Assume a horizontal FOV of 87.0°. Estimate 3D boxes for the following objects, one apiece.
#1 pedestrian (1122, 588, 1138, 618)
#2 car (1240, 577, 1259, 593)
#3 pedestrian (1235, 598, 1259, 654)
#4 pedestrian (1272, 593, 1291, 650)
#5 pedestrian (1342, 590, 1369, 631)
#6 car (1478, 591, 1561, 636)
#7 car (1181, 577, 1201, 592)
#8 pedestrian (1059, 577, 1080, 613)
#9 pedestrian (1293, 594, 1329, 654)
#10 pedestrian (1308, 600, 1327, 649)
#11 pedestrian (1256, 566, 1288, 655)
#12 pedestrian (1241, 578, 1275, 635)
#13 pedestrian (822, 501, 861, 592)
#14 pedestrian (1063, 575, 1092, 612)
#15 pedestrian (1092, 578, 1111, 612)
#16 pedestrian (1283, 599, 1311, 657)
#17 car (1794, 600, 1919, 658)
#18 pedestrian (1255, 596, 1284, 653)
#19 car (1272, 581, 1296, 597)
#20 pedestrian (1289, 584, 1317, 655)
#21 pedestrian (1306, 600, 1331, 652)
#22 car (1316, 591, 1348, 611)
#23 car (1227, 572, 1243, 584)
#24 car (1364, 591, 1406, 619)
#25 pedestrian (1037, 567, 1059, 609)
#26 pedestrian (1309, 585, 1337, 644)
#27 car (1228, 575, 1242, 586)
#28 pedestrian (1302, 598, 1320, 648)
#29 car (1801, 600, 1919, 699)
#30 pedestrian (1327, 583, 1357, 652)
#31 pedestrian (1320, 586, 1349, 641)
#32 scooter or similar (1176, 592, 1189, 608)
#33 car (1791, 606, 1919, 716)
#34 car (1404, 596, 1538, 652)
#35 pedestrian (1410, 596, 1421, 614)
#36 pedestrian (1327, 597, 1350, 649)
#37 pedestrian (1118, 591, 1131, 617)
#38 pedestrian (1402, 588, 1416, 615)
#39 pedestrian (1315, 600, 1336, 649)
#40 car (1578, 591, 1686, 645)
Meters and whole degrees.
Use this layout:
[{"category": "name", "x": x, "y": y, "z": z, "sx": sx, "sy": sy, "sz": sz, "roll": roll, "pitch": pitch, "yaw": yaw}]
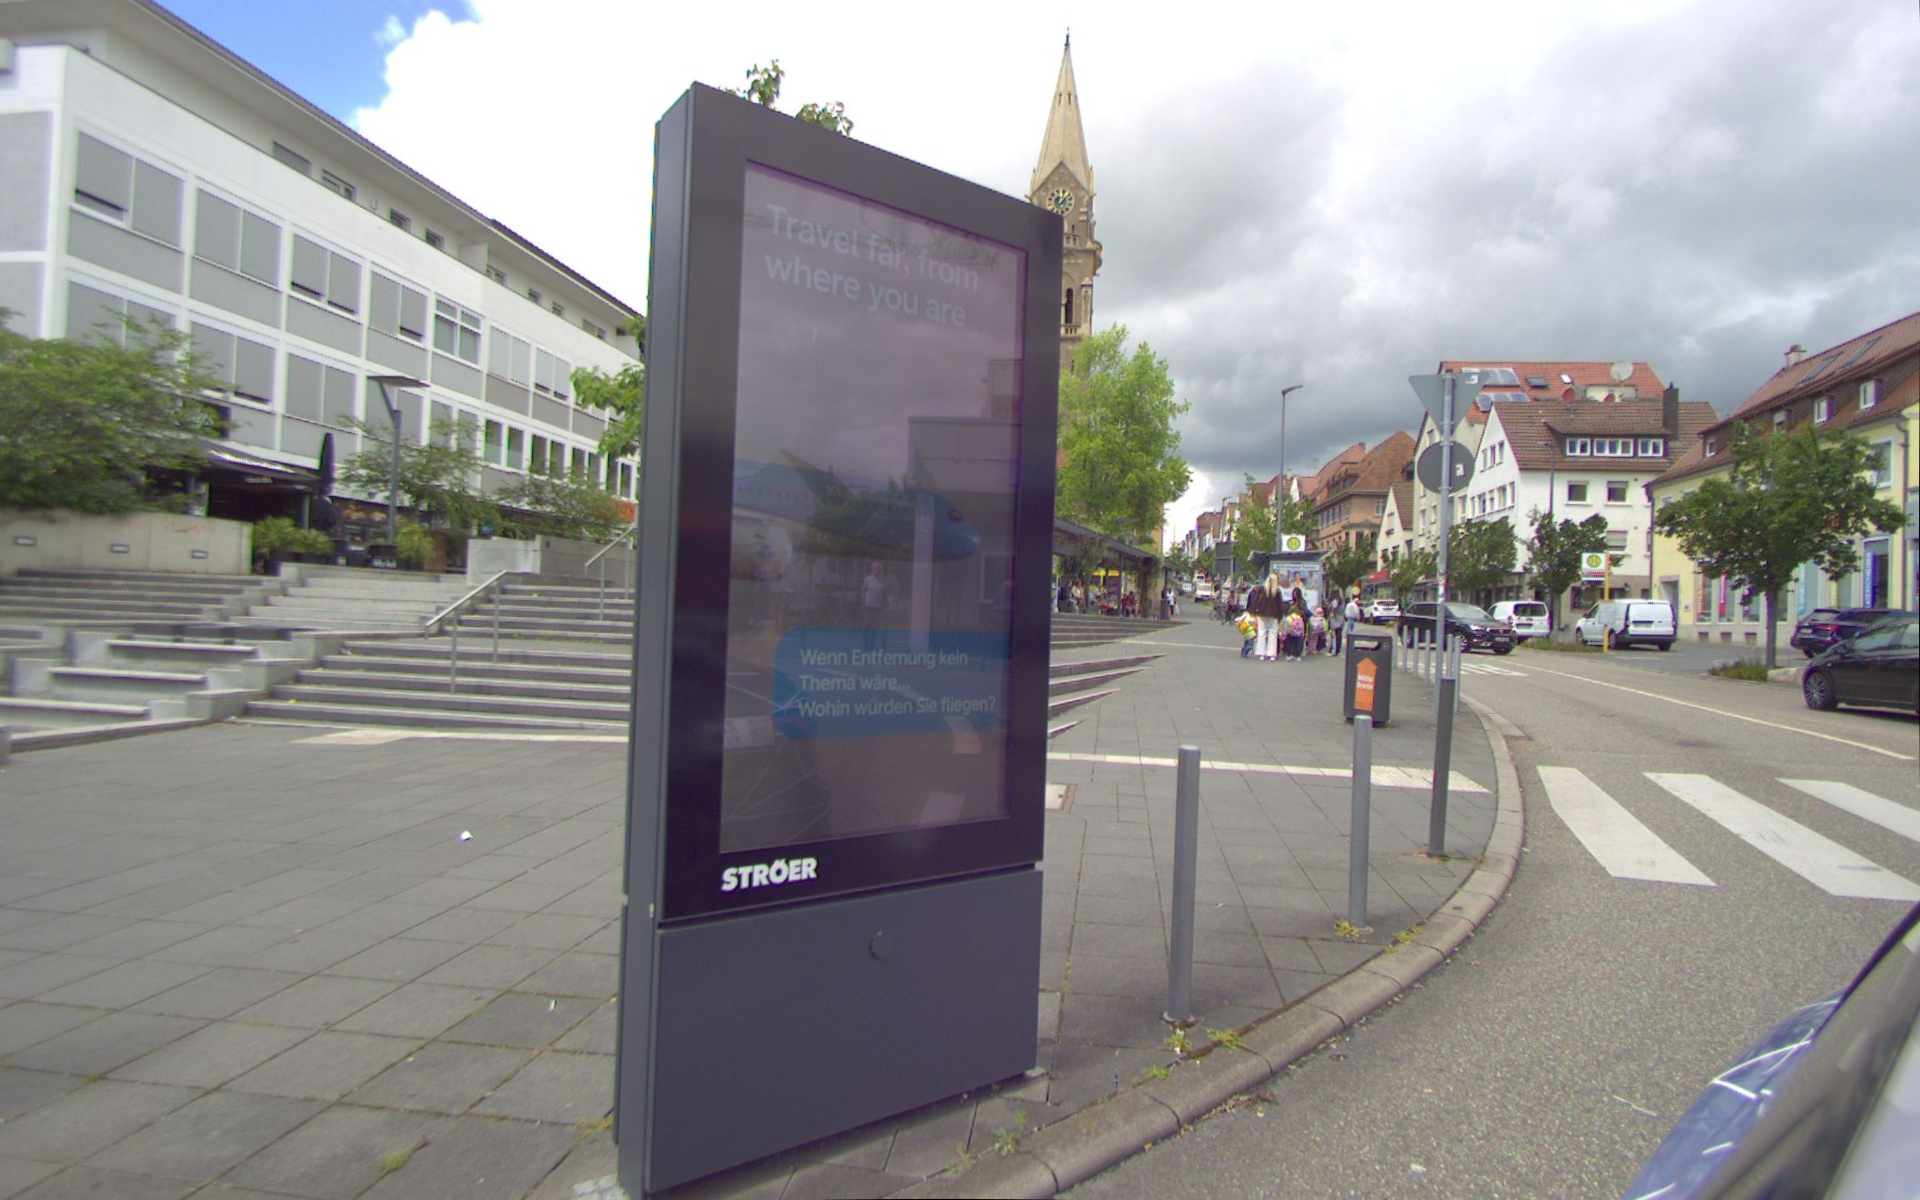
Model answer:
[{"category": "pedestrian", "x": 7.403, "y": 0.129, "z": 44.024, "sx": 0.563, "sy": 1.278, "sz": 0.538, "roll": 2, "pitch": -2, "yaw": 19}, {"category": "car", "x": 35.776, "y": -1.873, "z": 125.320, "sx": 1.704, "sy": 1.700, "sz": 3.984, "roll": 1, "pitch": 3, "yaw": 9}, {"category": "pedestrian", "x": 6.136, "y": 0.548, "z": 21.657, "sx": 0.434, "sy": 1.162, "sz": 0.381, "roll": 3, "pitch": 1, "yaw": 17}, {"category": "pedestrian", "x": 7.346, "y": 0.484, "z": 23.102, "sx": 0.320, "sy": 1.253, "sz": 0.332, "roll": 4, "pitch": 1, "yaw": 18}, {"category": "pedestrian", "x": 16.480, "y": 0.439, "z": 42.198, "sx": 0.699, "sy": 1.703, "sz": 0.688, "roll": 2, "pitch": 0, "yaw": -24}, {"category": "car", "x": 22.538, "y": 0.511, "z": 40.916, "sx": 1.635, "sy": 1.693, "sz": 4.337, "roll": 0, "pitch": 1, "yaw": 11}, {"category": "car", "x": 26.697, "y": -1.828, "z": 116.799, "sx": 1.787, "sy": 1.465, "sz": 3.939, "roll": 4, "pitch": 3, "yaw": 8}, {"category": "pedestrian", "x": 3.833, "y": -0.172, "z": 35.314, "sx": 0.563, "sy": 1.243, "sz": 0.561, "roll": 1, "pitch": 0, "yaw": 24}, {"category": "pedestrian", "x": 8.085, "y": 0.544, "z": 23.343, "sx": 0.424, "sy": 1.320, "sz": 0.601, "roll": 3, "pitch": 1, "yaw": -19}, {"category": "pedestrian", "x": 8.711, "y": 0.588, "z": 24.641, "sx": 0.259, "sy": 1.175, "sz": 0.271, "roll": 3, "pitch": 1, "yaw": -25}, {"category": "pedestrian", "x": 6.647, "y": 0.217, "z": 21.563, "sx": 0.534, "sy": 1.845, "sz": 0.433, "roll": 4, "pitch": 1, "yaw": 16}, {"category": "pedestrian", "x": 8.873, "y": 0.189, "z": 30.127, "sx": 0.793, "sy": 1.658, "sz": 0.680, "roll": 2, "pitch": 0, "yaw": 29}, {"category": "pedestrian", "x": -2.034, "y": -0.909, "z": 17.359, "sx": 0.448, "sy": 1.527, "sz": 0.501, "roll": 2, "pitch": -1, "yaw": 19}, {"category": "pedestrian", "x": 4.198, "y": -0.235, "z": 36.193, "sx": 0.665, "sy": 1.285, "sz": 0.769, "roll": 1, "pitch": 0, "yaw": -42}, {"category": "pedestrian", "x": 5.621, "y": -0.186, "z": 40.171, "sx": 0.618, "sy": 1.324, "sz": 0.543, "roll": 3, "pitch": 0, "yaw": 19}, {"category": "pedestrian", "x": 7.256, "y": 0.596, "z": 21.817, "sx": 0.470, "sy": 1.186, "sz": 0.389, "roll": 4, "pitch": 1, "yaw": 15}, {"category": "car", "x": 26.820, "y": 0.825, "z": 29.396, "sx": 3.585, "sy": 1.578, "sz": 1.662, "roll": 1, "pitch": 0, "yaw": 14}, {"category": "pedestrian", "x": 6.797, "y": 0.538, "z": 22.198, "sx": 0.389, "sy": 1.213, "sz": 0.503, "roll": 4, "pitch": 1, "yaw": 40}, {"category": "car", "x": 33.525, "y": -1.156, "z": 104.734, "sx": 1.641, "sy": 1.545, "sz": 3.958, "roll": 0, "pitch": 2, "yaw": 7}, {"category": "pedestrian", "x": 7.622, "y": 0.419, "z": 22.500, "sx": 0.383, "sy": 1.536, "sz": 0.390, "roll": 3, "pitch": 1, "yaw": 0}, {"category": "pedestrian", "x": 8.413, "y": 0.607, "z": 23.771, "sx": 0.329, "sy": 1.181, "sz": 0.352, "roll": 3, "pitch": 2, "yaw": -17}, {"category": "car", "x": 29.590, "y": 0.037, "z": 80.598, "sx": 1.635, "sy": 1.409, "sz": 4.433, "roll": 1, "pitch": 2, "yaw": 10}, {"category": "car", "x": 38.686, "y": -3.123, "z": 142.499, "sx": 1.663, "sy": 1.543, "sz": 3.522, "roll": 2, "pitch": 3, "yaw": 9}, {"category": "car", "x": 27.122, "y": 0.290, "z": 64.720, "sx": 1.645, "sy": 1.667, "sz": 4.120, "roll": 0, "pitch": 1, "yaw": 11}, {"category": "pedestrian", "x": 2.832, "y": -0.391, "z": 32.519, "sx": 0.563, "sy": 1.340, "sz": 0.541, "roll": 1, "pitch": 0, "yaw": 24}, {"category": "pedestrian", "x": 9.893, "y": 0.390, "z": 27.590, "sx": 0.492, "sy": 1.585, "sz": 0.498, "roll": 2, "pitch": 0, "yaw": -1}, {"category": "car", "x": 38.703, "y": -2.724, "z": 142.572, "sx": 1.586, "sy": 1.405, "sz": 3.619, "roll": 3, "pitch": 2, "yaw": 10}, {"category": "pedestrian", "x": 8.494, "y": 0.554, "z": 24.483, "sx": 0.247, "sy": 1.188, "sz": 0.251, "roll": 3, "pitch": 1, "yaw": -27}, {"category": "car", "x": 17.650, "y": 0.849, "z": 18.650, "sx": 1.676, "sy": 1.620, "sz": 4.309, "roll": -1, "pitch": 0, "yaw": 16}, {"category": "pedestrian", "x": 9.241, "y": 0.414, "z": 24.480, "sx": 0.459, "sy": 1.640, "sz": 0.389, "roll": 3, "pitch": 1, "yaw": -28}, {"category": "pedestrian", "x": 10.922, "y": 0.390, "z": 29.518, "sx": 0.477, "sy": 1.568, "sz": 0.544, "roll": 2, "pitch": 0, "yaw": -31}, {"category": "scooter or similar", "x": 15.974, "y": 0.017, "z": 72.641, "sx": 0.805, "sy": 1.085, "sz": 0.556, "roll": 3, "pitch": 2, "yaw": 21}, {"category": "car", "x": 13.945, "y": 0.841, "z": 14.297, "sx": 1.677, "sy": 1.437, "sz": 4.104, "roll": 0, "pitch": 1, "yaw": 12}, {"category": "car", "x": 16.430, "y": 0.723, "z": 32.754, "sx": 1.856, "sy": 1.543, "sz": 3.745, "roll": -1, "pitch": 3, "yaw": -14}, {"category": "pedestrian", "x": 32.545, "y": 0.371, "z": 72.246, "sx": 0.542, "sy": 1.283, "sz": 0.597, "roll": 1, "pitch": 1, "yaw": 9}, {"category": "pedestrian", "x": 9.395, "y": 0.566, "z": 25.098, "sx": 0.402, "sy": 1.241, "sz": 0.383, "roll": 3, "pitch": 0, "yaw": 37}, {"category": "pedestrian", "x": 7.085, "y": 0.163, "z": 43.640, "sx": 0.471, "sy": 1.103, "sz": 0.366, "roll": 2, "pitch": -2, "yaw": 19}, {"category": "pedestrian", "x": 29.909, "y": 0.108, "z": 67.418, "sx": 0.651, "sy": 1.782, "sz": 0.776, "roll": 1, "pitch": 2, "yaw": 9}, {"category": "pedestrian", "x": 8.973, "y": 0.603, "z": 24.825, "sx": 0.287, "sy": 1.166, "sz": 0.299, "roll": 3, "pitch": 1, "yaw": -28}, {"category": "car", "x": 24.610, "y": 0.595, "z": 37.232, "sx": 1.735, "sy": 1.836, "sz": 4.461, "roll": 0, "pitch": 0, "yaw": 12}]
